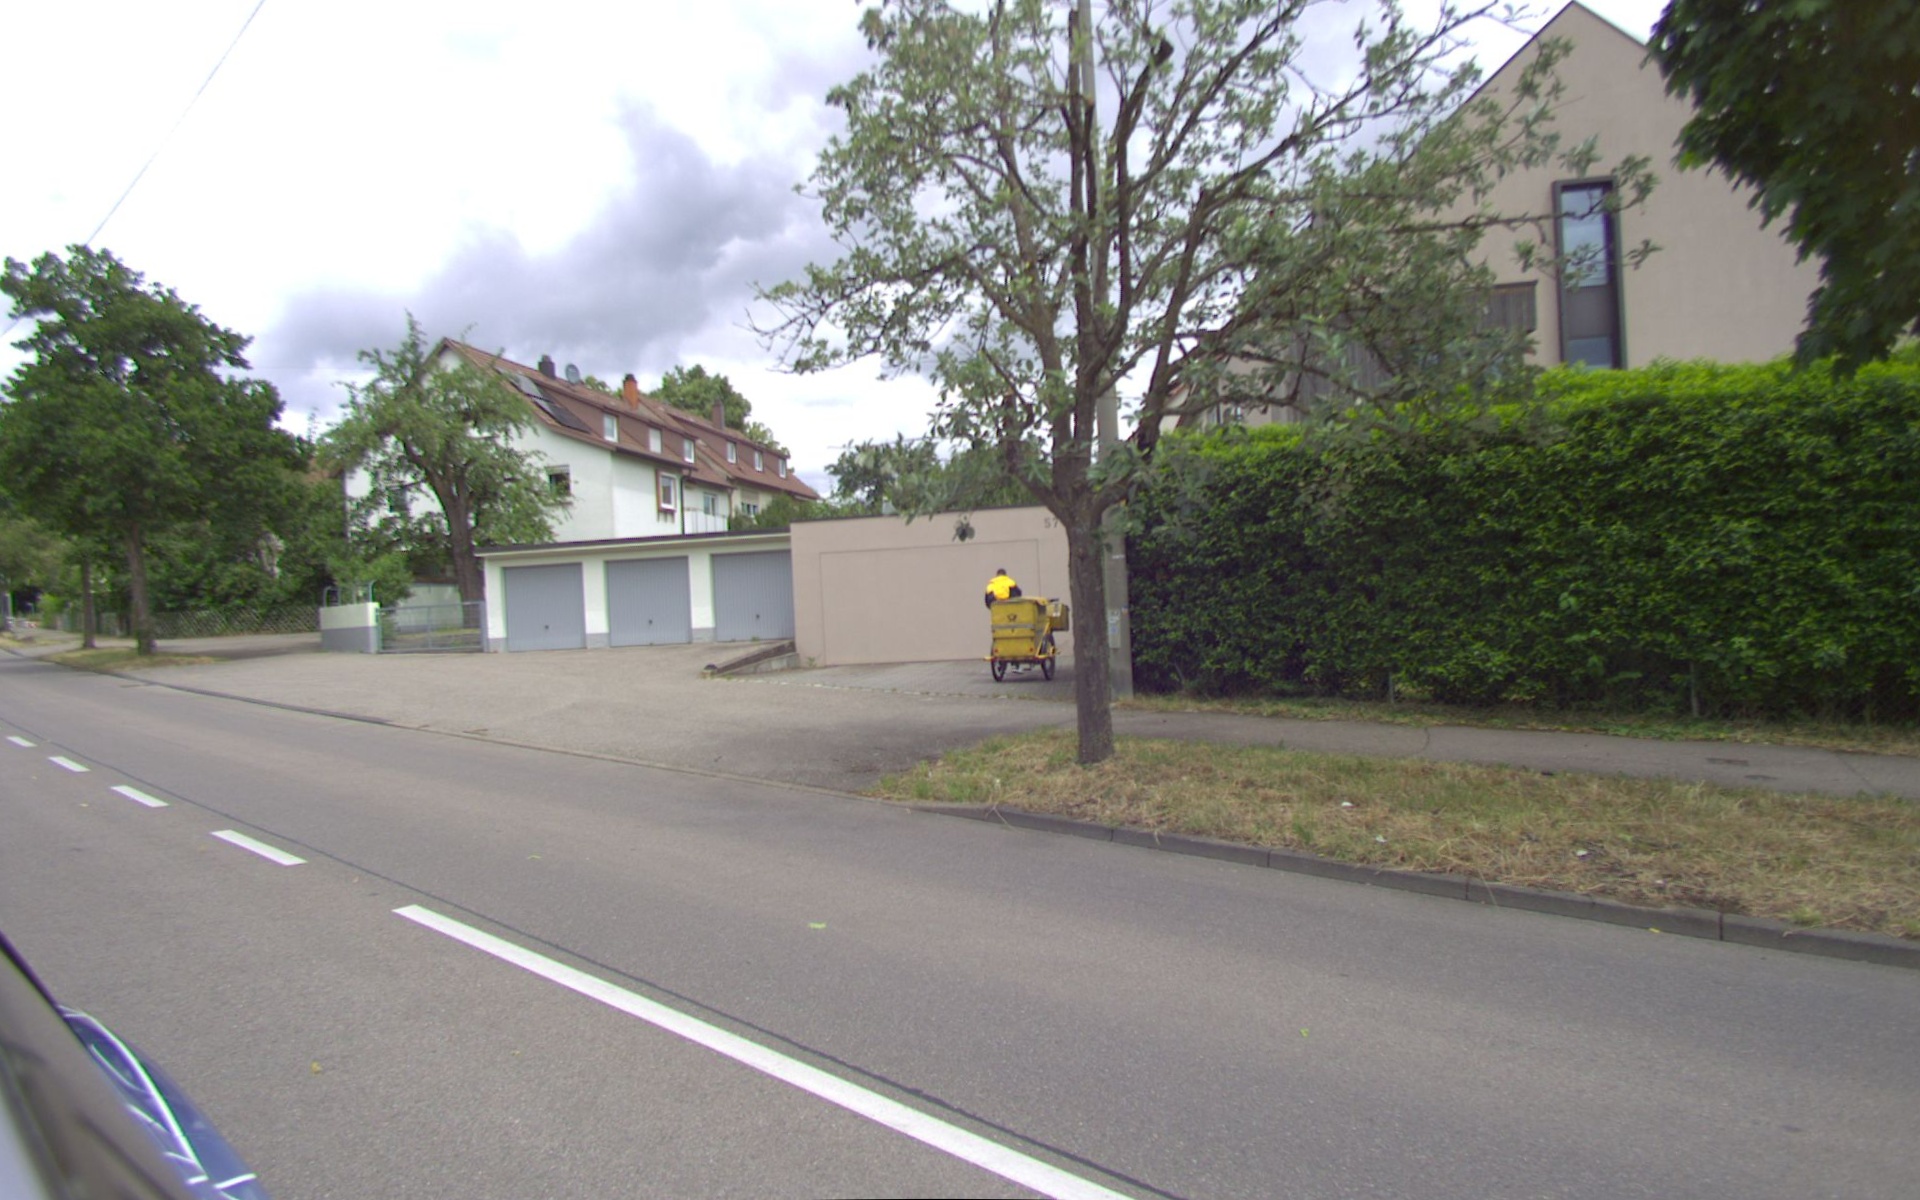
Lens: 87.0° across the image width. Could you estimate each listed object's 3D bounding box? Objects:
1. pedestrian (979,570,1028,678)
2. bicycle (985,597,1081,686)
[{"bbox_3d":[0.712,0.376,16.296,0.597,1.687,0.638,-1,0,19],"label":"pedestrian"},{"bbox_3d":[1.177,0.593,15.679,0.840,1.214,2.606,-3,0,18],"label":"bicycle"}]
